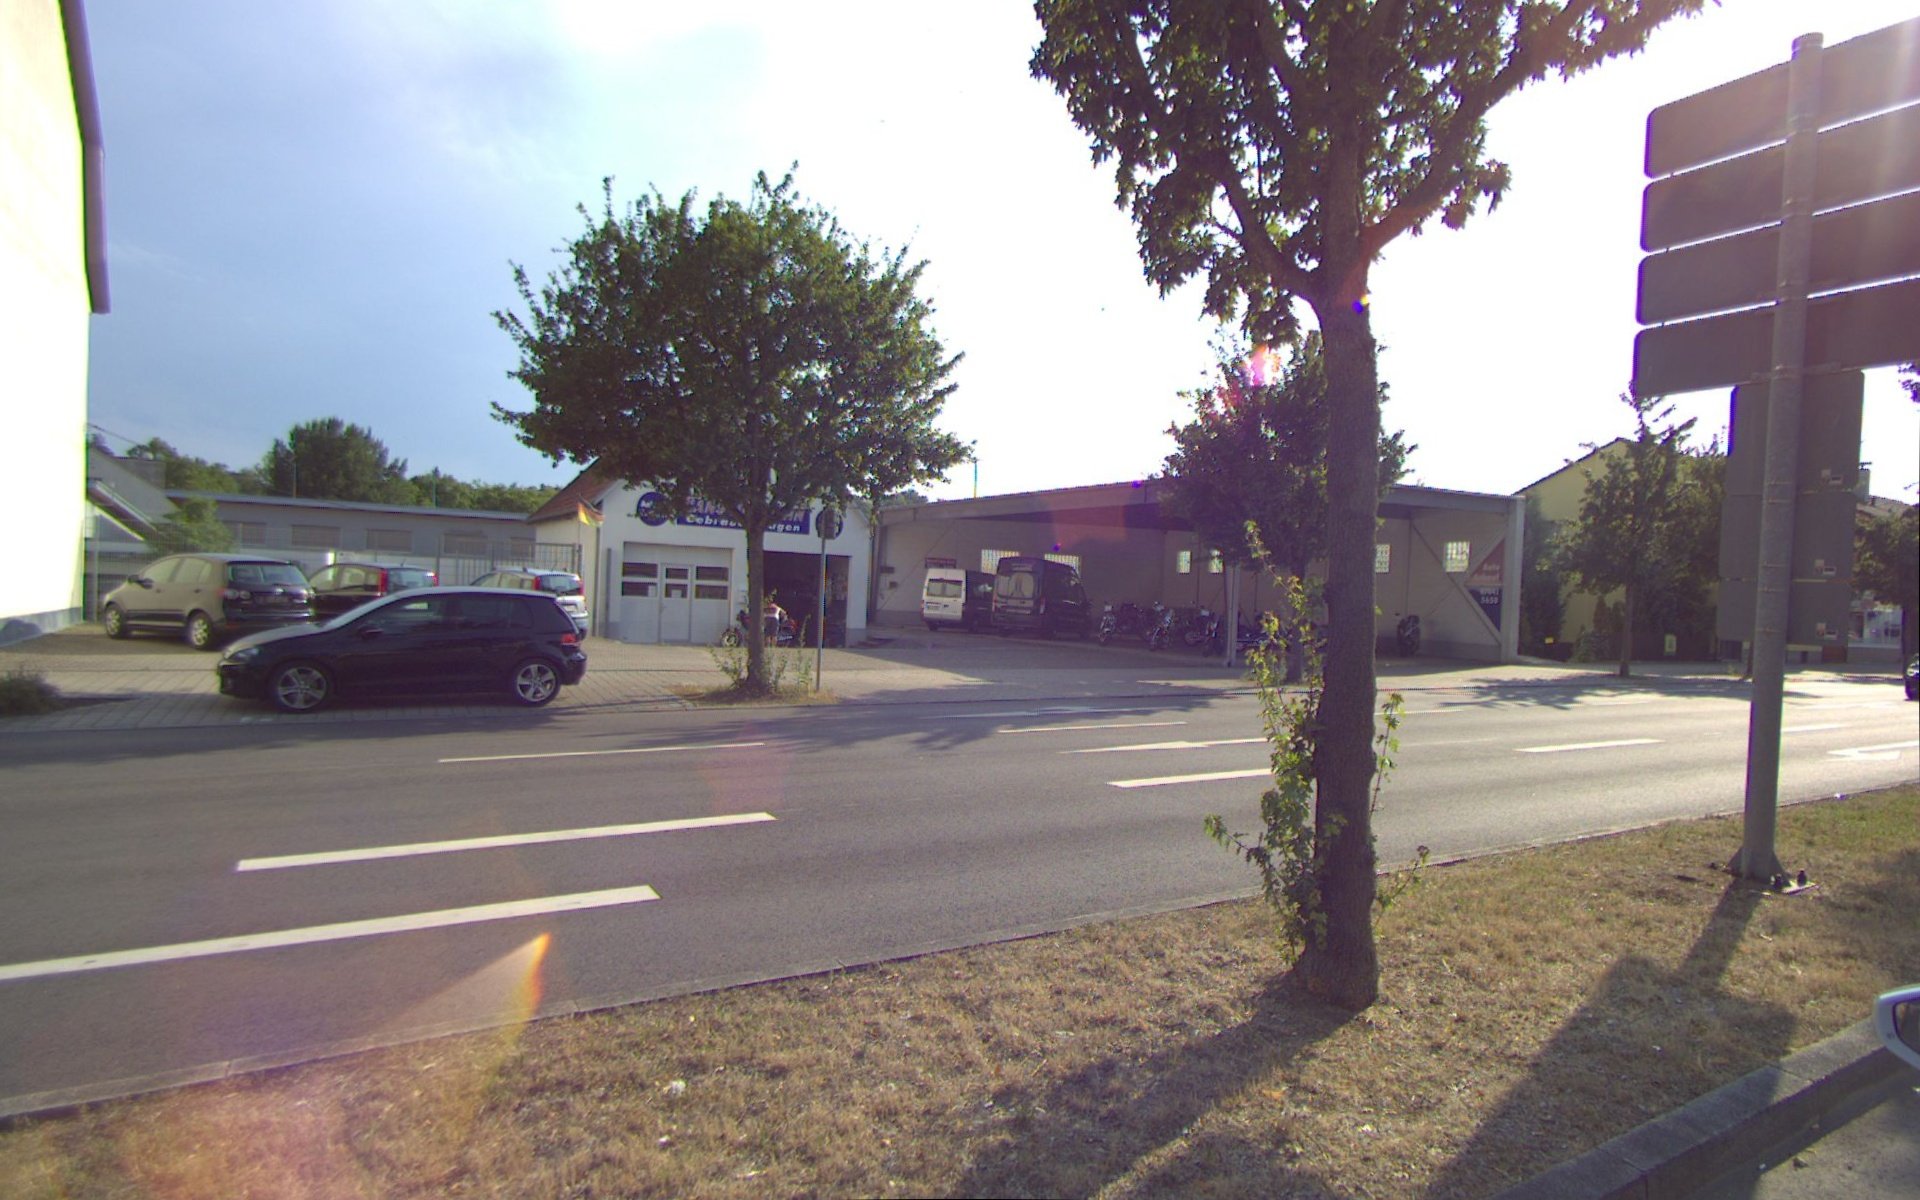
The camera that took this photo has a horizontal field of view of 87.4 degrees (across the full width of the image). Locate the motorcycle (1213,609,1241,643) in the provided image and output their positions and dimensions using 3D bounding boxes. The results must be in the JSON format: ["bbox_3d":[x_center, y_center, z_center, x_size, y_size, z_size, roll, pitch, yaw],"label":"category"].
[{"bbox_3d":[10.870,1.046,40.828,0.553,1.325,2.087,2,0,29],"label":"motorcycle"}]

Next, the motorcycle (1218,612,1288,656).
[{"bbox_3d":[9.607,1.101,32.944,2.112,1.347,0.563,2,0,-1],"label":"motorcycle"}]

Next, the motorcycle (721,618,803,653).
[{"bbox_3d":[-5.491,0.986,27.922,2.183,0.932,0.504,2,0,-28],"label":"motorcycle"}]

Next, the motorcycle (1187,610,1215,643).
[{"bbox_3d":[9.944,1.084,41.394,0.553,1.325,2.087,2,0,29],"label":"motorcycle"}]

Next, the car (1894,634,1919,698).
[{"bbox_3d":[24.058,1.606,24.154,4.073,1.470,1.755,2,-1,-39],"label":"car"}]

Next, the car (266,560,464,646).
[{"bbox_3d":[-12.025,0.034,20.255,3.929,1.572,1.764,2,0,31],"label":"car"}]

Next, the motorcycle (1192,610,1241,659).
[{"bbox_3d":[7.416,0.992,29.000,0.659,1.329,2.001,2,0,36],"label":"motorcycle"}]

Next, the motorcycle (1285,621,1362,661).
[{"bbox_3d":[11.180,1.257,30.933,2.112,1.139,0.631,2,0,-1],"label":"motorcycle"}]

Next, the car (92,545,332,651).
[{"bbox_3d":[-13.213,-0.083,17.735,3.925,1.573,1.766,4,2,26],"label":"car"}]

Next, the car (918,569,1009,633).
[{"bbox_3d":[0.199,0.066,38.523,2.157,2.279,4.387,2,0,19],"label":"car"}]

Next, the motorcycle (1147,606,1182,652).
[{"bbox_3d":[6.283,0.880,30.764,0.637,1.329,2.007,2,0,22],"label":"motorcycle"}]

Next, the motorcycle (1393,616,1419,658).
[{"bbox_3d":[14.754,1.204,33.217,0.553,1.325,2.112,2,0,29],"label":"motorcycle"}]

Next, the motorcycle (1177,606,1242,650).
[{"bbox_3d":[8.760,0.984,35.280,2.112,1.468,0.594,2,0,-1],"label":"motorcycle"}]

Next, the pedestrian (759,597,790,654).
[{"bbox_3d":[-5.079,0.693,27.436,0.664,1.543,0.650,2,0,-23],"label":"pedestrian"}]

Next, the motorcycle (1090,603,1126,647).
[{"bbox_3d":[4.757,0.793,32.243,0.637,1.329,2.007,2,0,22],"label":"motorcycle"}]

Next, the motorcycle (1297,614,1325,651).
[{"bbox_3d":[13.052,1.210,37.310,0.612,1.325,2.087,2,0,29],"label":"motorcycle"}]

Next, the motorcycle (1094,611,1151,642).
[{"bbox_3d":[6.414,1.029,39.629,2.112,1.138,0.563,2,0,-1],"label":"motorcycle"}]

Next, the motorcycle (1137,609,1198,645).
[{"bbox_3d":[7.714,0.991,37.390,2.112,1.275,0.647,2,0,-1],"label":"motorcycle"}]

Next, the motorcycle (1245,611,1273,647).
[{"bbox_3d":[11.452,1.093,38.452,0.573,1.325,2.087,2,0,29],"label":"motorcycle"}]

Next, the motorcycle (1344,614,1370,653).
[{"bbox_3d":[13.876,1.154,35.071,0.553,1.325,2.087,2,0,29],"label":"motorcycle"}]

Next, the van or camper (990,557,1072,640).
[{"bbox_3d":[2.626,-0.025,35.999,1.960,2.716,5.041,2,0,15],"label":"van or camper"}]

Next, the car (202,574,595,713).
[{"bbox_3d":[-7.088,0.534,13.014,4.147,1.463,1.825,2,3,-31],"label":"car"}]

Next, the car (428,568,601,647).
[{"bbox_3d":[-9.777,0.135,21.957,3.936,1.572,1.761,2,0,37],"label":"car"}]
